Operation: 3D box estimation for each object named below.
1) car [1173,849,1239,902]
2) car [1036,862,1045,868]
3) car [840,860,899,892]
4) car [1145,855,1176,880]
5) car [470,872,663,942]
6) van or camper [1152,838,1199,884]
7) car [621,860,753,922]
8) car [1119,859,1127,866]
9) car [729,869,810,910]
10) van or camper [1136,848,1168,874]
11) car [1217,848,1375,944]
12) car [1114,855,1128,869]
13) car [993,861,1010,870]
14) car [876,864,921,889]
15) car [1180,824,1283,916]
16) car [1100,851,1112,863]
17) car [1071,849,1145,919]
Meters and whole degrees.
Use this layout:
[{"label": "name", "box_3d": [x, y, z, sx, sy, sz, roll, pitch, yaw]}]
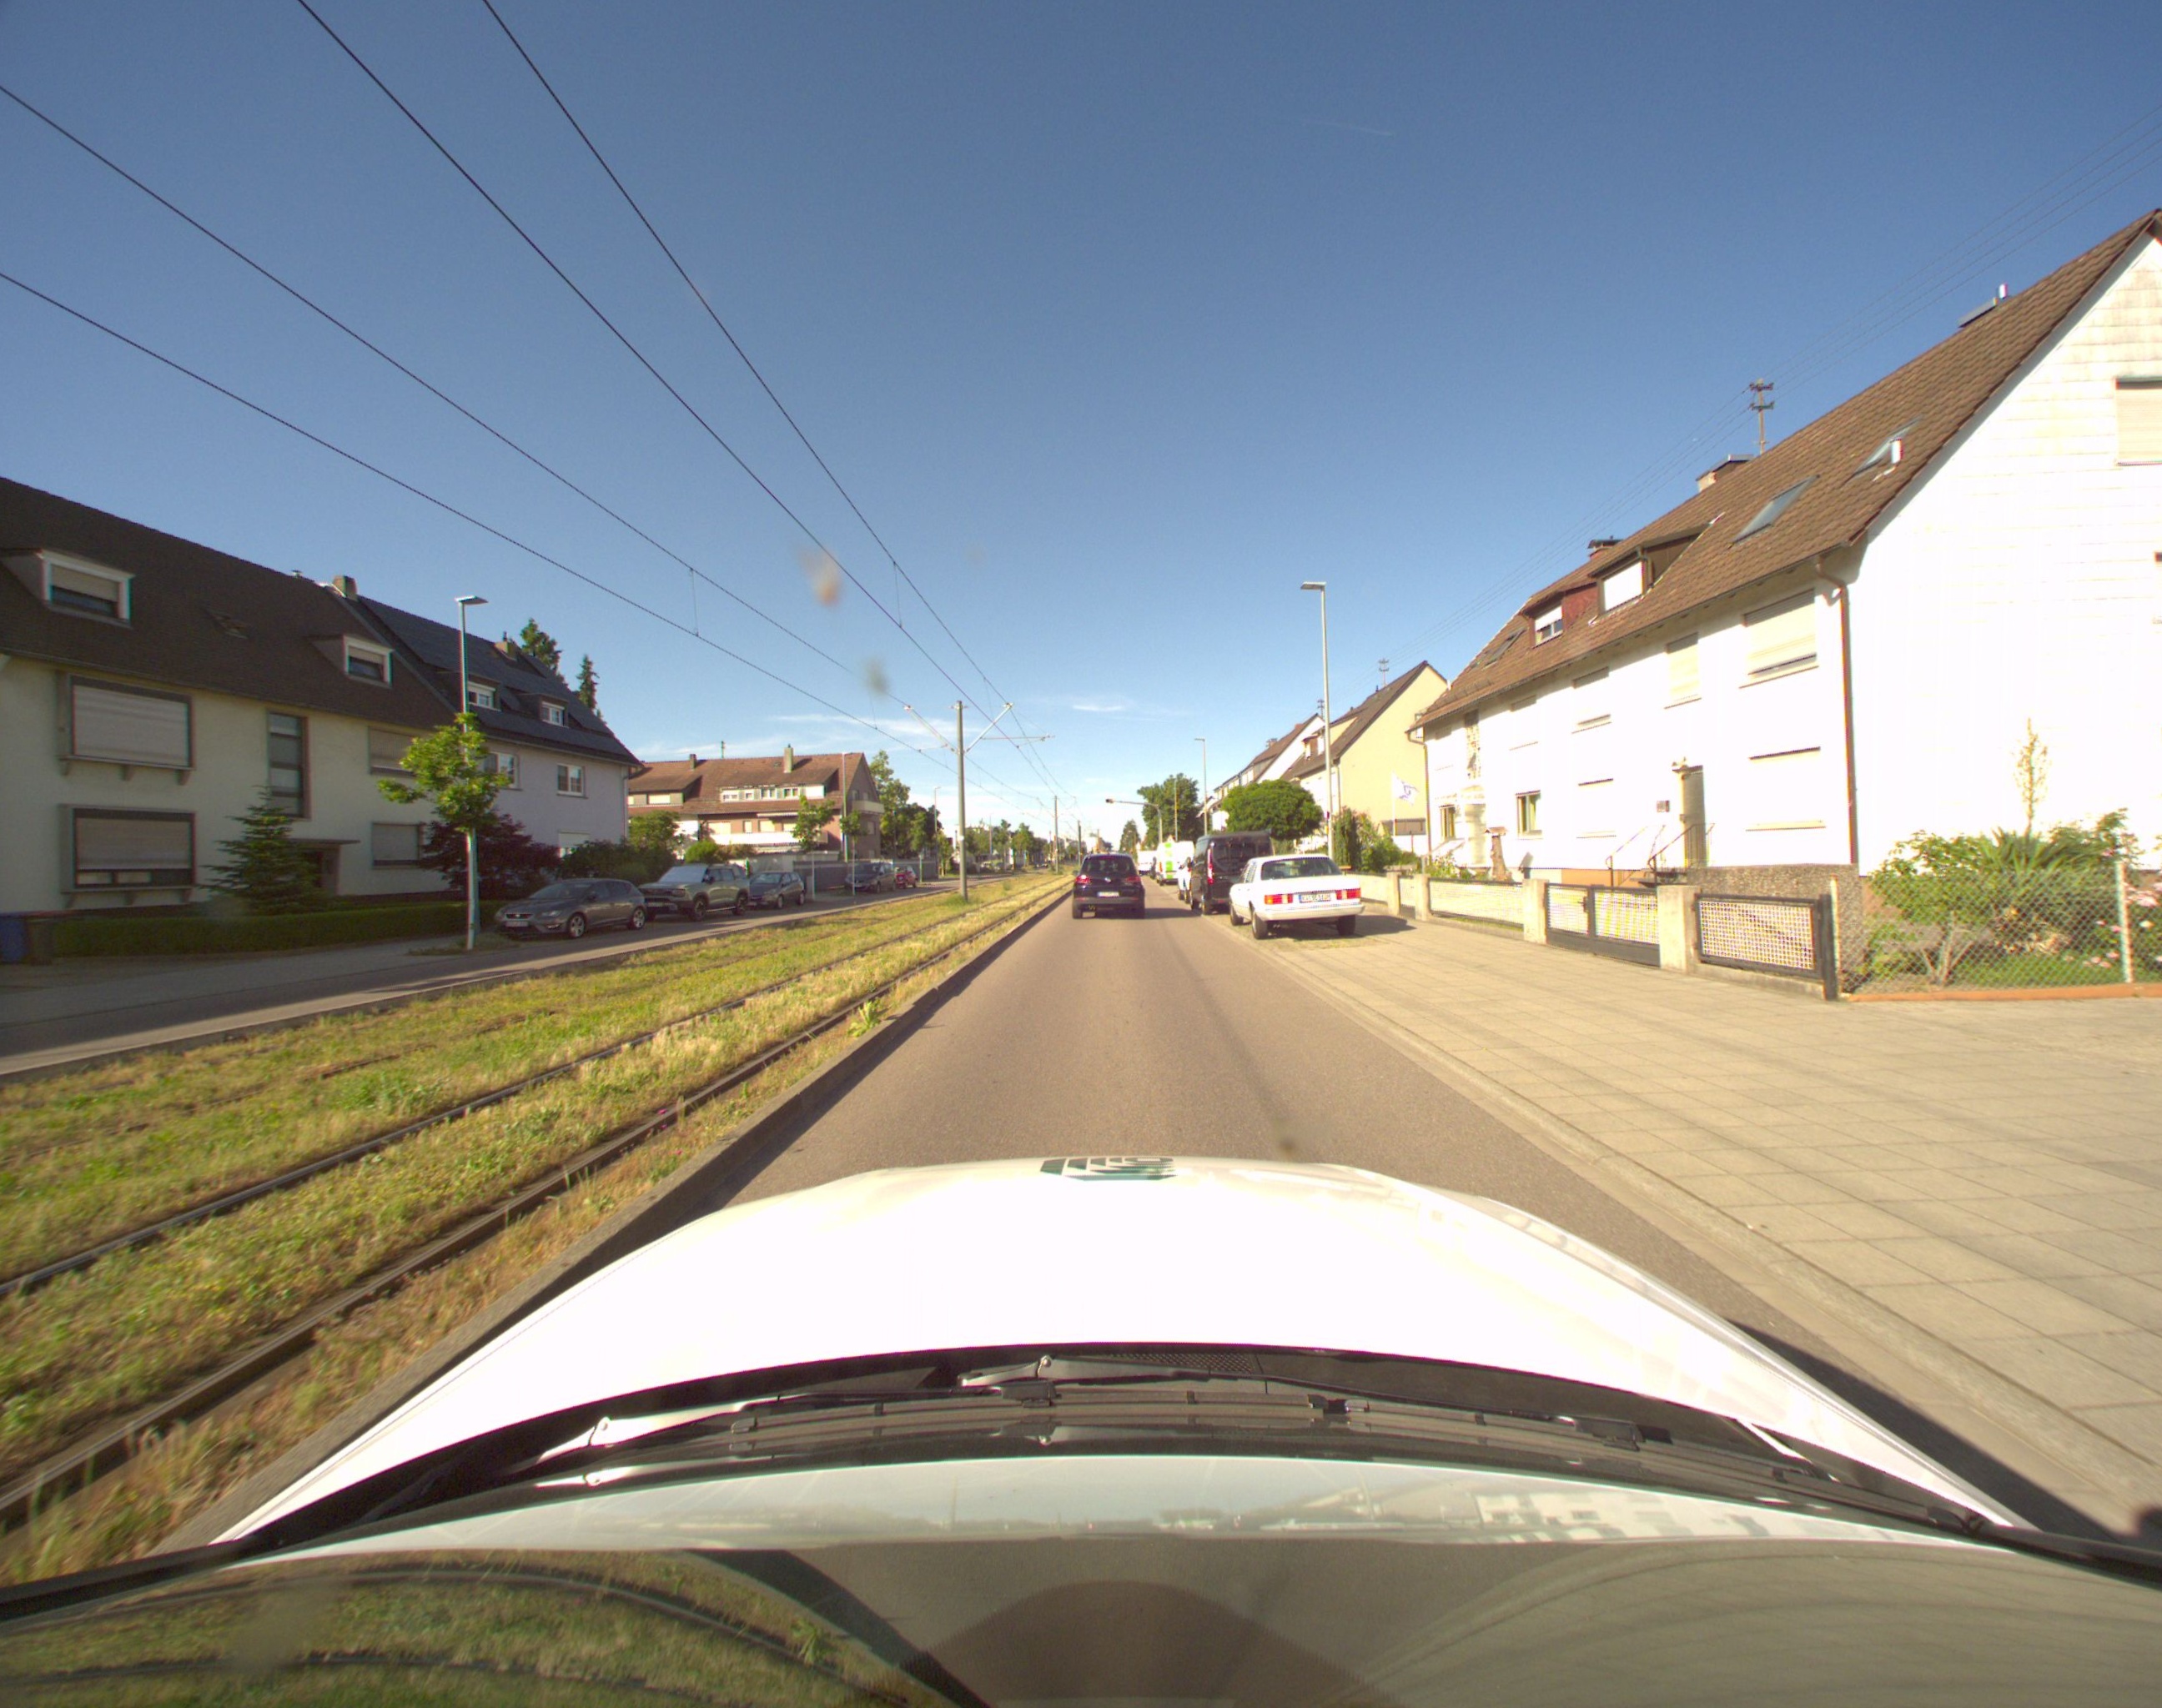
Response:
[{"label": "car", "box_3d": [4.261, 0.705, 28.372, 1.719, 1.645, 4.320, -3, -1, 2]}, {"label": "car", "box_3d": [-9.724, 2.576, 195.057, 1.680, 1.389, 4.392, -4, -1, 4]}, {"label": "car", "box_3d": [-11.773, 1.209, 45.719, 1.812, 1.684, 4.849, 0, 0, 3]}, {"label": "car", "box_3d": [5.357, 0.891, 55.486, 1.742, 1.494, 5.158, -3, -1, 2]}, {"label": "car", "box_3d": [-13.058, 1.283, 21.086, 1.953, 1.540, 4.559, 0, -1, 2]}, {"label": "van or camper", "box_3d": [5.137, 0.400, 45.094, 1.986, 2.271, 6.308, -3, -1, 2]}, {"label": "car", "box_3d": [-12.613, 1.113, 26.446, 1.738, 1.823, 4.844, 0, 0, 2]}, {"label": "car", "box_3d": [10.737, 2.101, 208.952, 1.770, 1.670, 4.000, -2, -1, 0]}, {"label": "car", "box_3d": [-12.416, 1.379, 32.736, 1.671, 1.491, 4.049, 0, 0, 0]}, {"label": "van or camper", "box_3d": [5.791, 0.532, 65.917, 2.015, 1.956, 5.310, -2, 0, 10]}, {"label": "car", "box_3d": [3.947, 0.680, 15.993, 1.845, 1.443, 5.618, -4, 0, 3]}, {"label": "car", "box_3d": [5.554, 1.126, 113.053, 1.623, 1.828, 4.127, -2, 0, -2]}, {"label": "car", "box_3d": [-12.794, 1.860, 131.790, 1.801, 1.461, 4.325, 0, -1, 7]}, {"label": "car", "box_3d": [-11.558, 1.421, 51.807, 1.688, 1.405, 4.082, -2, 0, 3]}, {"label": "car", "box_3d": [4.012, 0.414, 22.612, 1.952, 2.144, 5.338, -3, -1, 2]}, {"label": "car", "box_3d": [5.555, 0.713, 177.990, 2.385, 2.564, 5.533, -2, -1, 3]}, {"label": "car", "box_3d": [0.672, 0.748, 21.644, 1.770, 1.670, 4.000, 0, -1, 0]}]
